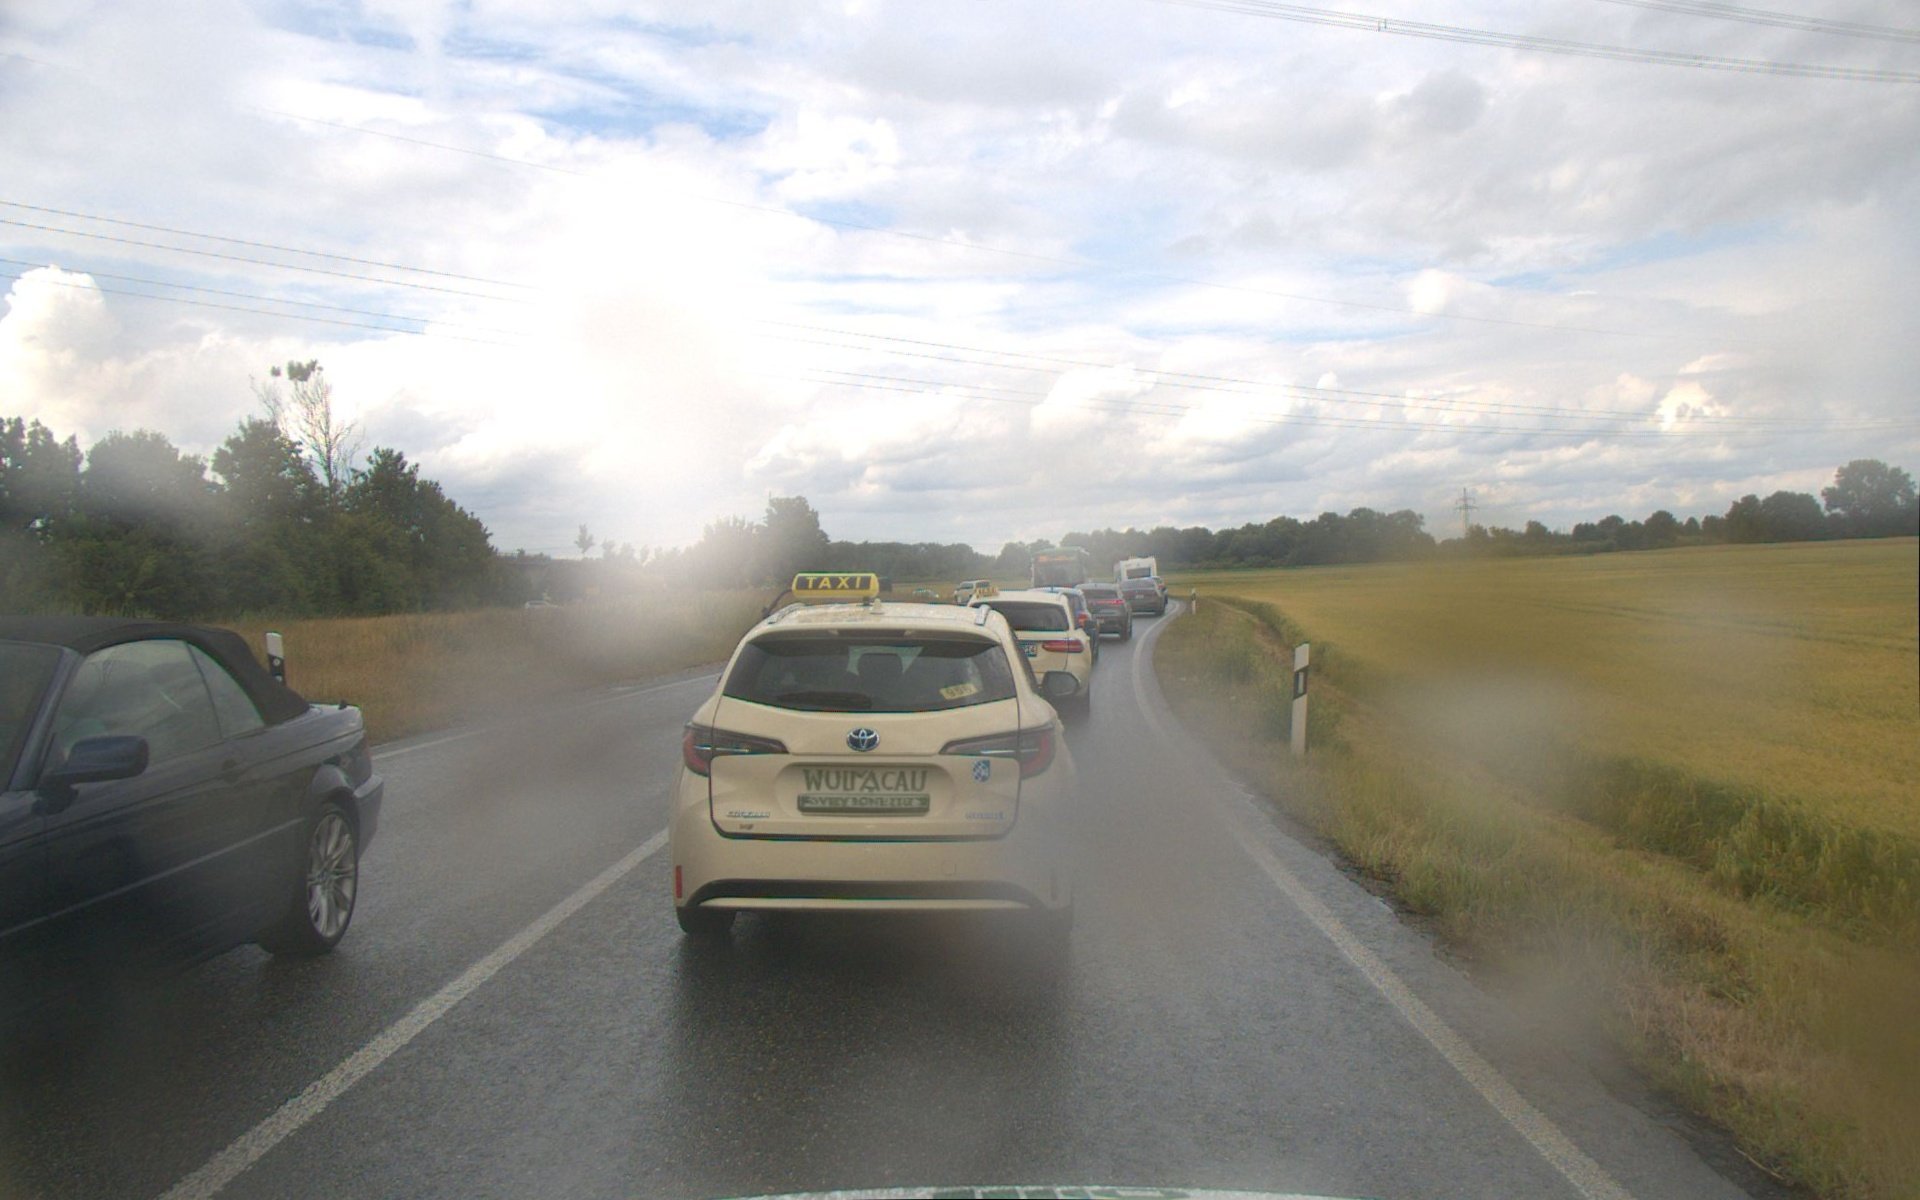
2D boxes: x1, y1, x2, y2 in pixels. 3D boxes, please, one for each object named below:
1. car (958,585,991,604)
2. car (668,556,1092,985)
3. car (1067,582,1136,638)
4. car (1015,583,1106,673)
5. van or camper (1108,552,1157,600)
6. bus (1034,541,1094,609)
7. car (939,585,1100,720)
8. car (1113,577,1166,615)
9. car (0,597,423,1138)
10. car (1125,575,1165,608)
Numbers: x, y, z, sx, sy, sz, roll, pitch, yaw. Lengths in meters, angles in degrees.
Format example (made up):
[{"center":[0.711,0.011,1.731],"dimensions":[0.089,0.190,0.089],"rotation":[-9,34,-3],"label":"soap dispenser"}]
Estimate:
[{"center":[1.368,-0.500,155.609],"dimensions":[1.855,1.804,4.136],"rotation":[1,-1,-20],"label":"car"},{"center":[-0.228,0.656,8.088],"dimensions":[1.579,1.589,3.739],"rotation":[1,-1,2],"label":"car"},{"center":[3.891,0.285,45.152],"dimensions":[1.578,1.438,3.741],"rotation":[0,-1,9],"label":"car"},{"center":[2.074,0.555,33.434],"dimensions":[1.578,1.688,3.741],"rotation":[1,-1,7],"label":"car"},{"center":[10.980,-1.515,105.787],"dimensions":[2.484,2.946,6.743],"rotation":[0,0,1],"label":"van or camper"},{"center":[5.634,-1.301,87.733],"dimensions":[2.699,3.355,12.511],"rotation":[0,0,6],"label":"bus"},{"center":[0.867,0.574,21.191],"dimensions":[1.802,1.518,4.611],"rotation":[1,1,5],"label":"car"},{"center":[7.325,-0.143,67.138],"dimensions":[1.918,1.438,4.396],"rotation":[1,-1,9],"label":"car"},{"center":[-3.336,0.716,5.491],"dimensions":[1.596,1.421,4.321],"rotation":[0,0,1],"label":"car"},{"center":[10.079,-0.444,90.273],"dimensions":[1.919,1.759,3.740],"rotation":[1,-1,3],"label":"car"}]
